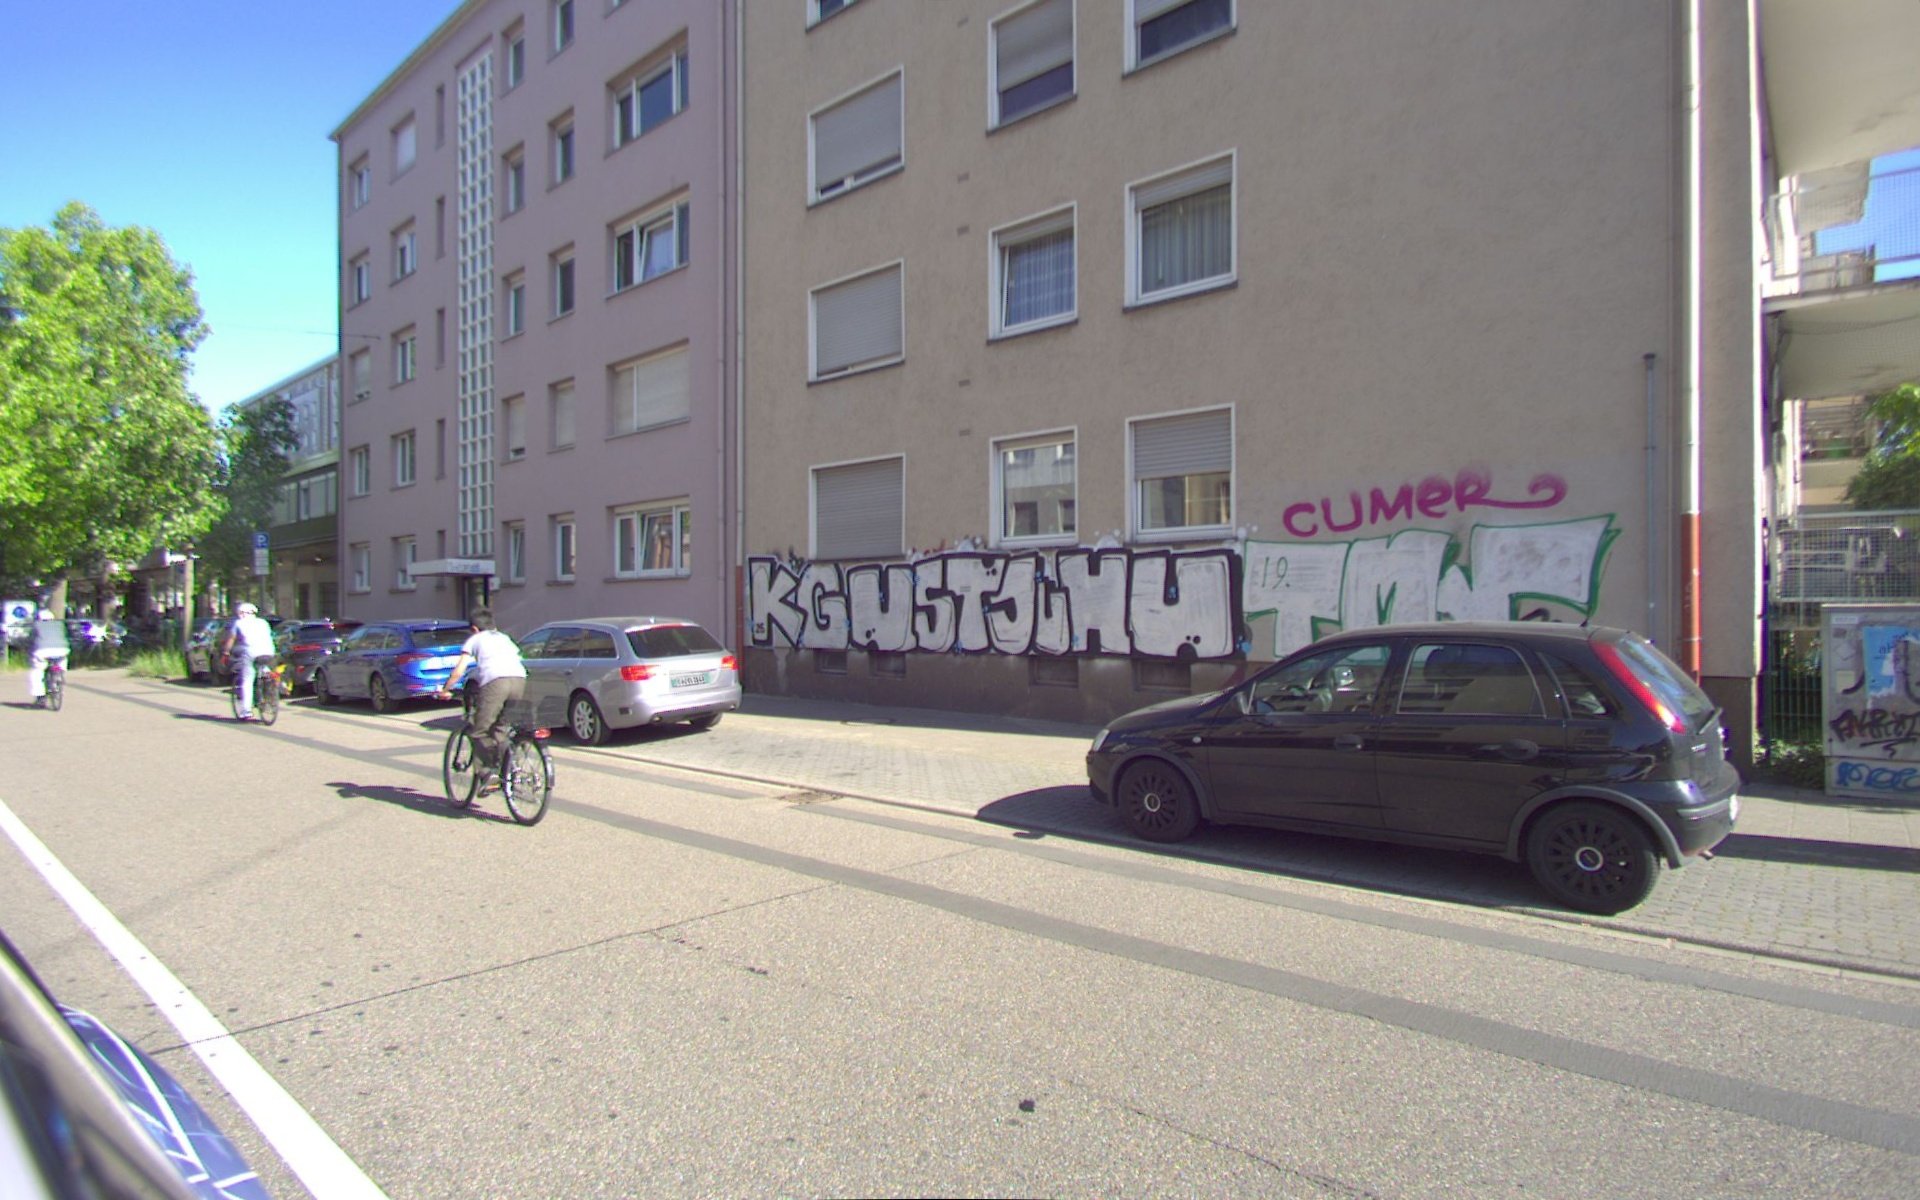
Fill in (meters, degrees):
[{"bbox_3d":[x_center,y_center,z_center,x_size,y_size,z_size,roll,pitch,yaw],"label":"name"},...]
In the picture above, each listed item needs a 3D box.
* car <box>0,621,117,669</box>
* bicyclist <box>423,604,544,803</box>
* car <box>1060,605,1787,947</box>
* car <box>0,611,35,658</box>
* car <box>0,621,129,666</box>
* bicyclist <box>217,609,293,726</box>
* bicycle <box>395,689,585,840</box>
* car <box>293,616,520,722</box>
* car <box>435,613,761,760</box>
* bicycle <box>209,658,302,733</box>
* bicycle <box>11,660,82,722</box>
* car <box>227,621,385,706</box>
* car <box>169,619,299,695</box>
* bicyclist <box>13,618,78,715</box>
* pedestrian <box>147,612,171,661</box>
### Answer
[{"bbox_3d":[-32.224,1.562,35.452,1.913,1.564,3.943,-2,-1,43],"label":"car"},{"bbox_3d":[-3.582,0.742,7.603,0.787,1.402,0.537,-2,-2,38],"label":"bicyclist"},{"bbox_3d":[2.714,0.828,6.390,3.853,1.459,1.674,-2,1,40],"label":"car"},{"bbox_3d":[-43.296,1.545,44.450,1.913,2.058,3.824,-2,-1,43],"label":"car"},{"bbox_3d":[-34.051,1.620,38.219,1.913,1.564,3.943,-2,-1,43],"label":"car"},{"bbox_3d":[-10.285,0.969,14.755,0.898,1.643,0.672,-2,-3,41],"label":"bicyclist"},{"bbox_3d":[-3.551,1.172,7.574,1.824,0.909,0.537,-2,-1,39],"label":"bicycle"},{"bbox_3d":[-9.648,1.107,17.469,4.798,1.514,1.805,-2,1,40],"label":"car"},{"bbox_3d":[-4.850,0.993,13.180,4.798,1.514,1.805,-2,1,40],"label":"car"},{"bbox_3d":[-10.256,1.358,14.706,1.933,0.959,0.672,-2,-2,42],"label":"bicycle"},{"bbox_3d":[-15.598,1.522,17.265,1.933,0.959,0.672,-2,-3,42],"label":"bicycle"},{"bbox_3d":[-13.423,1.227,20.667,4.157,1.478,1.704,-2,1,43],"label":"car"},{"bbox_3d":[-17.441,1.294,24.235,4.157,1.588,1.704,-2,1,43],"label":"car"},{"bbox_3d":[-15.547,1.112,17.206,0.898,1.588,0.672,-2,-3,41],"label":"bicyclist"},{"bbox_3d":[-30.009,1.369,37.918,0.502,1.820,0.615,-2,-1,42],"label":"pedestrian"}]
